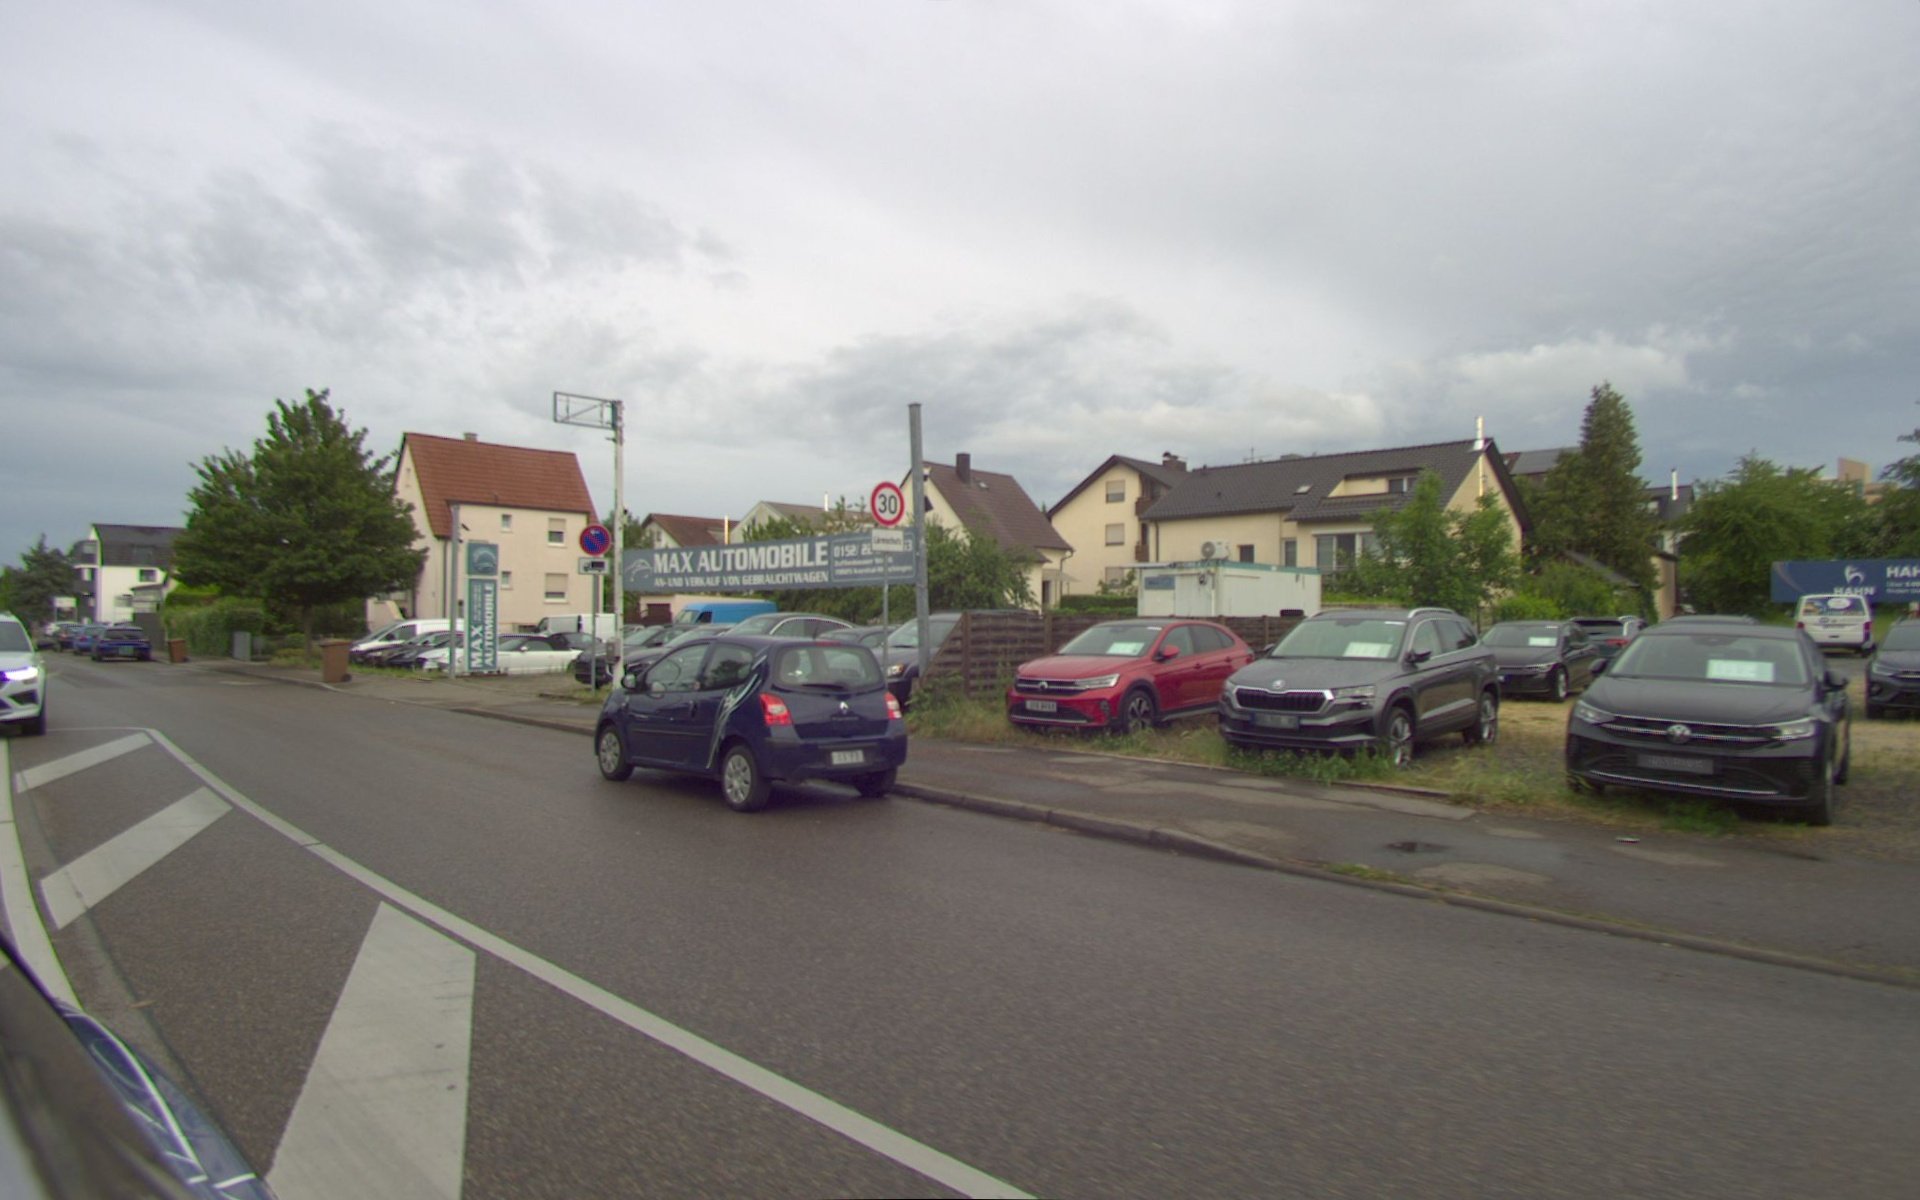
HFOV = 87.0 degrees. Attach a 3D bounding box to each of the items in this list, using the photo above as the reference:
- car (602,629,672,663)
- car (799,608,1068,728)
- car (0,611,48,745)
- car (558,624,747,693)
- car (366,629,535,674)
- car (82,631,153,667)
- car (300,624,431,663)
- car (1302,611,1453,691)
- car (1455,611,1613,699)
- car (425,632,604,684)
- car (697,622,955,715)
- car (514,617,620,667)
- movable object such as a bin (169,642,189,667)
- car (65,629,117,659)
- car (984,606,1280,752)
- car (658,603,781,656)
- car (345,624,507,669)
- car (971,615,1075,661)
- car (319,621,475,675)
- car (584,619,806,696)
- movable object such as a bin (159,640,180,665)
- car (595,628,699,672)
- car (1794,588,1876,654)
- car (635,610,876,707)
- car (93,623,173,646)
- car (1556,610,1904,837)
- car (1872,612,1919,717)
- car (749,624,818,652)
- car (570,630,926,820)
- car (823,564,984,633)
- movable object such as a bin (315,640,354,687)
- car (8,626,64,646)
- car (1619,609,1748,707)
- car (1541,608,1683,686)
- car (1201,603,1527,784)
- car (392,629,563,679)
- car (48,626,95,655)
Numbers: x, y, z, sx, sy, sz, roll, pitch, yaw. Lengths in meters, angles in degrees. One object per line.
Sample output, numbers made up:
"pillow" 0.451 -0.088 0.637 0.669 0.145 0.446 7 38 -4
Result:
"car" -13.432 1.895 42.032 3.115 1.343 1.370 -1 -2 42
"car" -0.322 1.005 16.669 1.960 1.703 4.298 -2 -2 44
"car" -14.082 1.034 13.961 4.831 1.673 1.858 -2 -3 44
"car" -7.278 1.334 24.155 1.840 1.475 3.942 -2 -2 44
"car" -16.336 1.620 32.595 1.889 1.319 4.507 -1 -2 43
"car" -35.072 2.005 42.105 3.945 1.414 1.786 -2 -3 44
"car" -22.167 1.593 37.824 1.760 1.383 3.872 -1 -2 39
"car" 8.717 1.011 21.009 3.591 1.439 1.593 -1 -1 -45
"car" 10.826 0.973 18.998 3.590 1.439 1.593 -1 -1 -44
"car" -12.817 1.626 29.296 1.771 1.342 4.402 -1 -2 43
"car" -2.296 1.126 18.120 1.960 1.442 4.298 -2 -2 44
"car" -16.262 1.713 41.785 5.052 1.945 1.972 -1 -3 42
"movable object such as a bin" -30.339 2.124 39.299 0.424 0.917 0.534 -1 1 42
"car" -42.459 2.150 49.421 3.598 1.414 1.528 -2 -3 44
"car" 2.347 0.902 13.191 3.940 1.555 1.805 -1 -1 -44
"car" -11.577 1.372 49.001 2.047 2.392 5.607 -1 -1 43
"car" -18.100 1.532 34.453 1.896 1.429 4.512 -1 -2 39
"car" 2.326 1.350 36.813 1.788 1.583 3.692 -2 -2 45
"car" -20.074 1.668 36.254 1.896 1.804 4.512 -1 -2 39
"car" -5.679 1.169 22.036 1.942 1.475 4.298 -2 -2 44
"movable object such as a bin" -30.837 2.046 39.485 0.506 0.917 0.534 -1 1 42
"car" -10.454 1.635 33.818 3.210 1.426 1.329 -1 -2 21
"car" 28.115 0.658 32.627 1.721 1.989 4.140 -3 -1 38
"car" -3.966 1.074 20.083 2.059 1.704 4.298 -2 -2 44
"car" -57.478 2.393 70.389 1.882 1.525 4.043 -2 -2 40
"car" 6.799 0.860 8.776 3.940 1.452 1.805 -1 -1 -44
"car" 14.823 0.893 15.087 1.516 1.385 3.598 -3 -1 38
"car" -8.530 1.828 49.159 1.337 1.343 3.189 -1 -2 41
"car" -2.160 1.018 9.692 1.608 1.444 3.686 1 -2 -44
"car" -1.435 0.032 24.734 4.001 1.542 1.672 -2 -3 44
"movable object such as a bin" -15.879 1.604 25.693 0.735 1.138 0.700 -1 -1 44
"car" -93.359 3.644 102.243 1.999 1.659 3.946 -2 2 41
"car" 12.413 0.912 17.282 1.590 1.439 3.598 -3 -1 38
"car" 14.933 1.016 23.094 3.939 1.564 1.755 -1 -1 -43
"car" 4.483 0.853 10.945 3.940 1.555 1.805 -1 -1 -44
"car" -14.698 1.595 30.988 1.889 1.384 4.328 -1 -2 43
"car" -48.248 2.189 54.946 3.708 1.518 1.590 -2 -3 44
